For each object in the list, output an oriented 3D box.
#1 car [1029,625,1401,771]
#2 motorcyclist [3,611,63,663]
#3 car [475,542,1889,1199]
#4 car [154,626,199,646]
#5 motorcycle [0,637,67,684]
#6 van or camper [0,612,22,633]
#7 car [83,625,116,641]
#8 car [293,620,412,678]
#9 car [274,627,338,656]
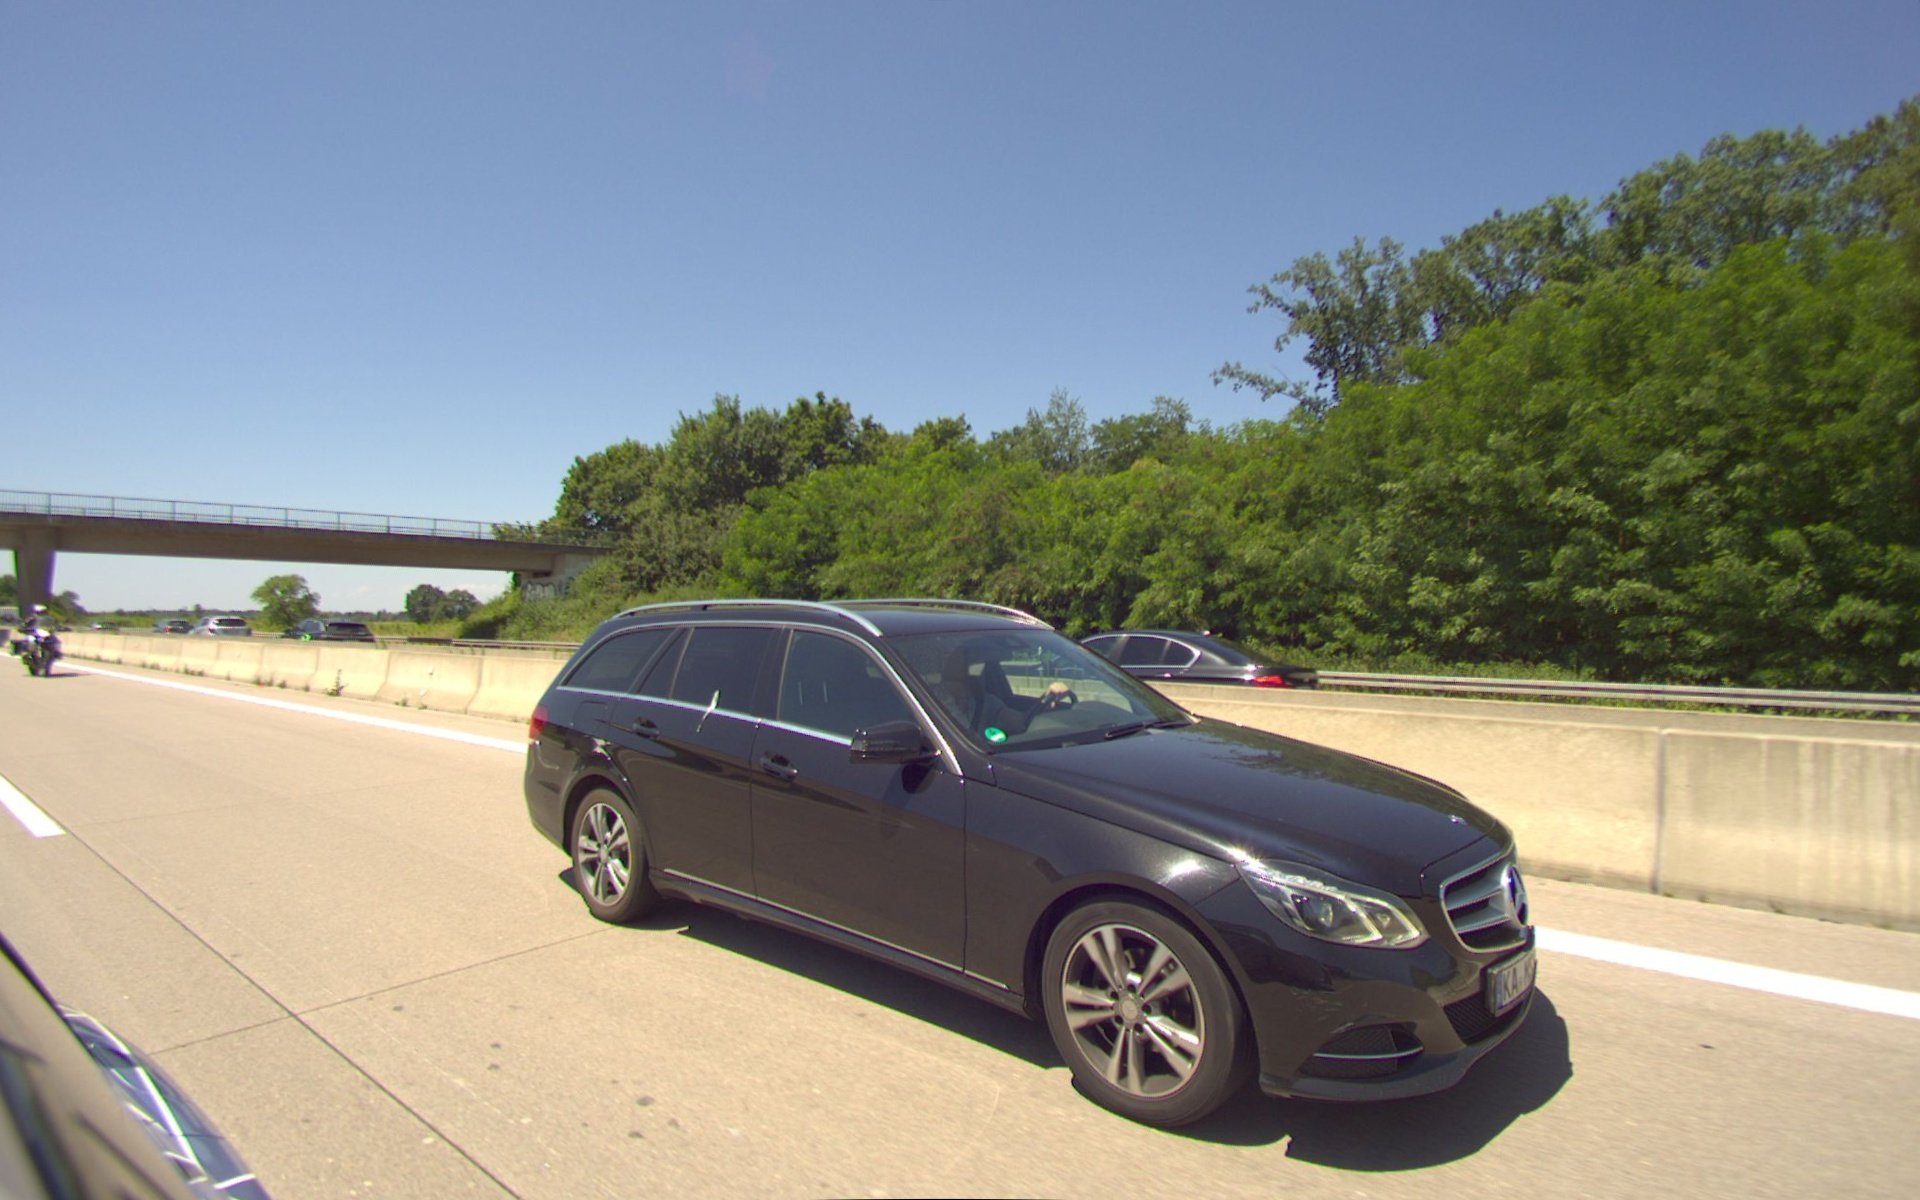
[{"bbox_3d":[2.919,1.033,12.111,4.013,1.427,1.681,-1,-1,41],"label":"car"},{"bbox_3d":[-22.214,0.881,24.253,0.911,1.218,1.013,-2,-2,44],"label":"motorcyclist"},{"bbox_3d":[0.104,0.709,4.321,5.600,1.484,1.871,-2,-2,41],"label":"car"},{"bbox_3d":[-52.568,2.378,67.894,4.369,1.329,1.549,-1,-2,41],"label":"car"},{"bbox_3d":[-22.210,1.424,24.250,2.413,1.057,1.010,-2,-3,44],"label":"motorcycle"},{"bbox_3d":[-114.952,2.678,121.767,7.797,2.462,2.226,-1,0,41],"label":"van or camper"},{"bbox_3d":[-71.090,2.728,83.574,3.630,1.329,1.549,-1,-2,41],"label":"car"},{"bbox_3d":[-19.088,1.498,31.704,4.926,1.690,1.691,-1,-3,41],"label":"car"},{"bbox_3d":[-31.129,1.947,48.119,3.629,1.329,1.549,-1,-2,40],"label":"car"}]
